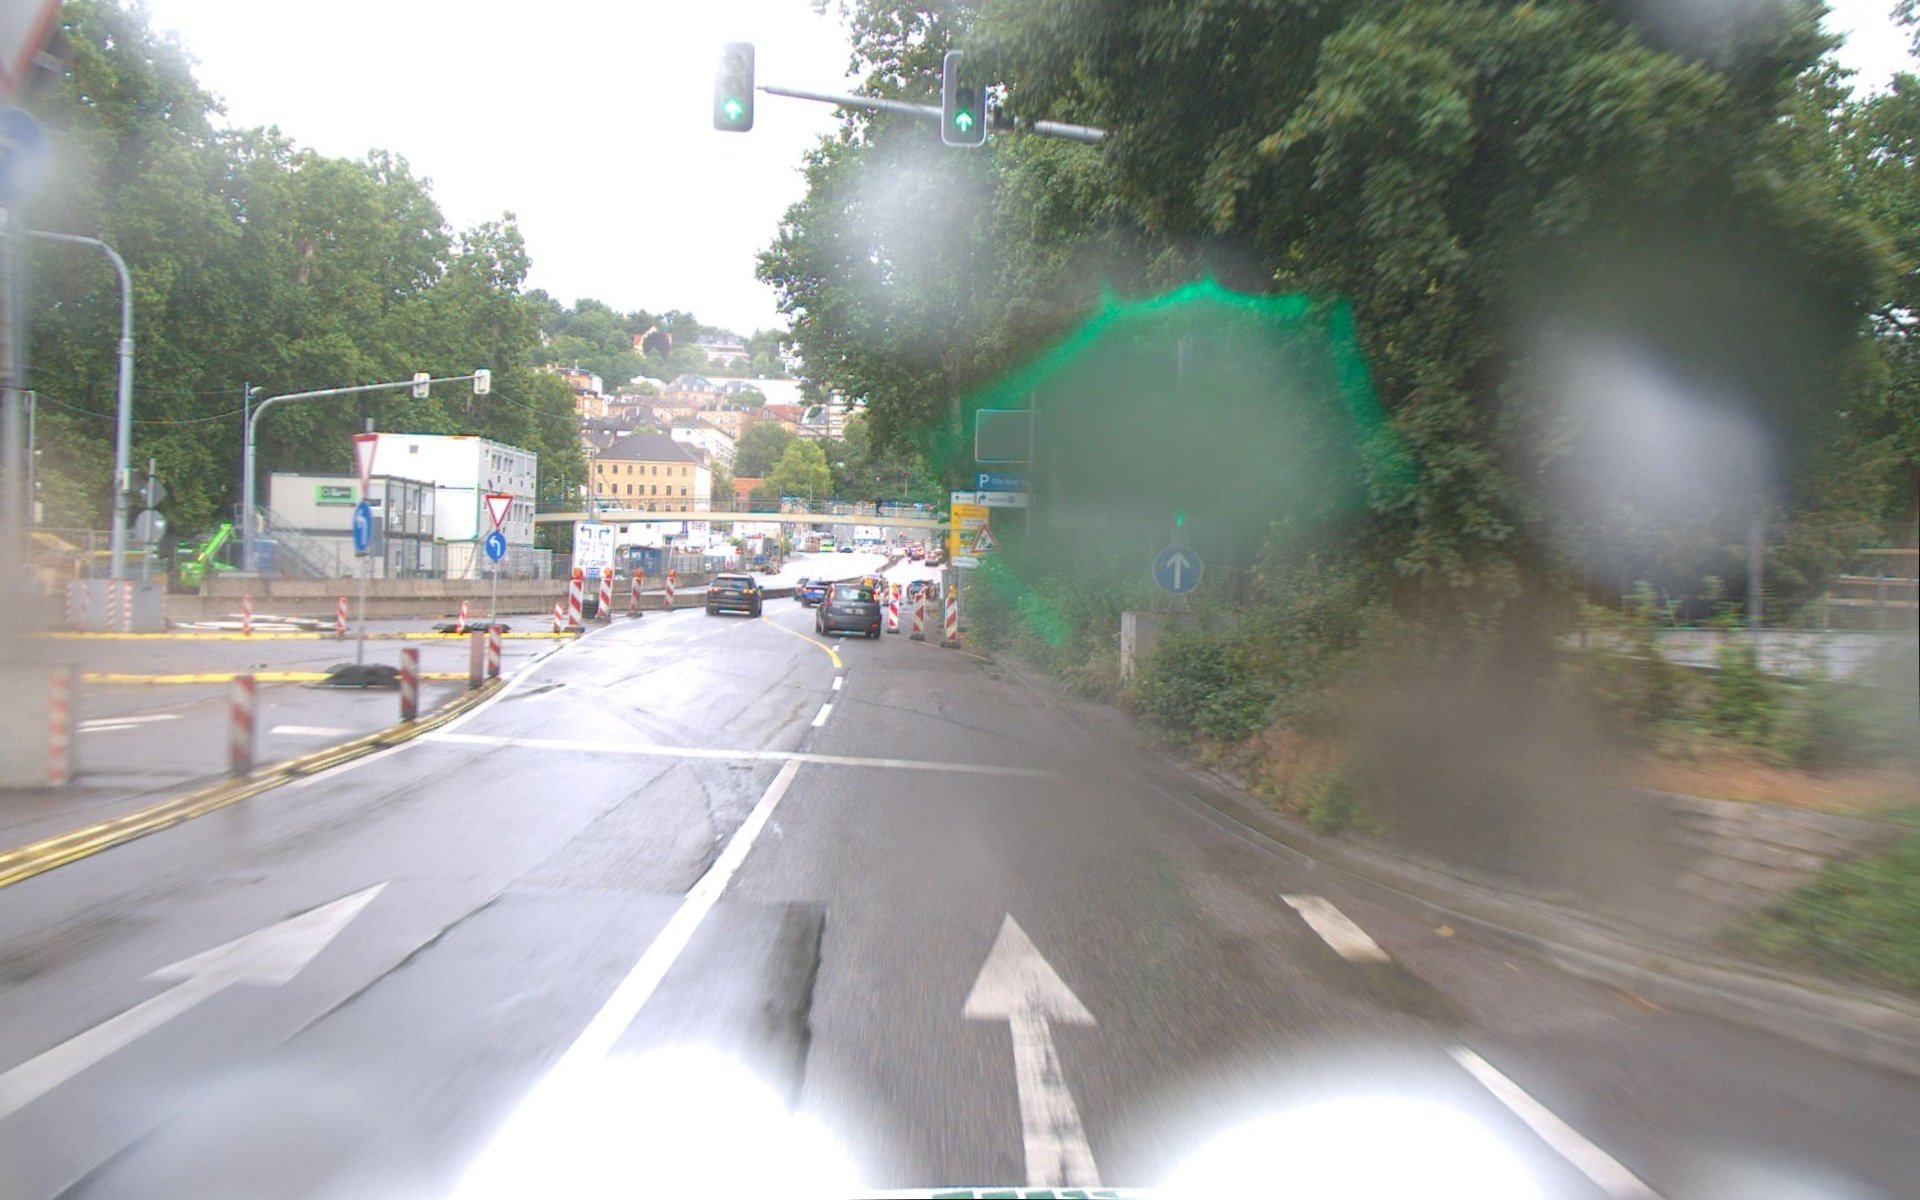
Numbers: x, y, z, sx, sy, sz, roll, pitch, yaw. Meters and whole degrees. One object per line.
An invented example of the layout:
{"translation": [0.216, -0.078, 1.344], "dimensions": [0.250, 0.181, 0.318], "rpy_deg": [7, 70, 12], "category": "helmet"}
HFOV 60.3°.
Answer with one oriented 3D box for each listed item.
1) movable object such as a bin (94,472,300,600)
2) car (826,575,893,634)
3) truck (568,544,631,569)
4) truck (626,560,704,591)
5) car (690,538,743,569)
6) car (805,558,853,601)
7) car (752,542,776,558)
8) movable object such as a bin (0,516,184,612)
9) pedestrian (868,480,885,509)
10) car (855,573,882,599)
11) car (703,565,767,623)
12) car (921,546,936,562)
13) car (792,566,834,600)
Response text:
{"translation": [-31.113, -2.536, 68.015], "dimensions": [4.653, 4.886, 8.358], "rpy_deg": [1, 1, -1], "category": "movable object such as a bin"}
{"translation": [-2.855, 0.088, 46.393], "dimensions": [1.777, 1.553, 3.996], "rpy_deg": [0, 1, -5], "category": "car"}
{"translation": [-31.903, -3.850, 146.376], "dimensions": [5.143, 2.048, 2.162], "rpy_deg": [1, 1, -4], "category": "truck"}
{"translation": [-24.607, -2.028, 138.121], "dimensions": [6.156, 2.495, 2.690], "rpy_deg": [1, 1, -7], "category": "truck"}
{"translation": [-23.737, -4.534, 161.635], "dimensions": [1.955, 2.925, 6.045], "rpy_deg": [1, 1, 27], "category": "car"}
{"translation": [-6.660, -1.055, 84.470], "dimensions": [2.061, 2.086, 4.000], "rpy_deg": [1, 1, 0], "category": "car"}
{"translation": [-22.874, -5.835, 193.036], "dimensions": [1.952, 1.649, 4.004], "rpy_deg": [2, 3, 4], "category": "car"}
{"translation": [-31.069, -1.276, 58.955], "dimensions": [3.852, 3.183, 6.387], "rpy_deg": [1, 1, -1], "category": "movable object such as a bin"}
{"translation": [-6.360, -8.014, 125.862], "dimensions": [1.123, 2.096, 1.060], "rpy_deg": [1, 1, 8], "category": "pedestrian"}
{"translation": [-7.410, -1.151, 133.913], "dimensions": [2.009, 2.049, 4.000], "rpy_deg": [1, 1, -1], "category": "car"}
{"translation": [-8.236, -0.238, 60.880], "dimensions": [1.976, 2.049, 3.998], "rpy_deg": [1, 1, -3], "category": "car"}
{"translation": [-4.092, -5.988, 215.160], "dimensions": [1.953, 1.902, 4.000], "rpy_deg": [1, 1, -1], "category": "car"}
{"translation": [-8.889, -1.047, 100.200], "dimensions": [1.952, 2.048, 4.002], "rpy_deg": [1, 1, 3], "category": "car"}
